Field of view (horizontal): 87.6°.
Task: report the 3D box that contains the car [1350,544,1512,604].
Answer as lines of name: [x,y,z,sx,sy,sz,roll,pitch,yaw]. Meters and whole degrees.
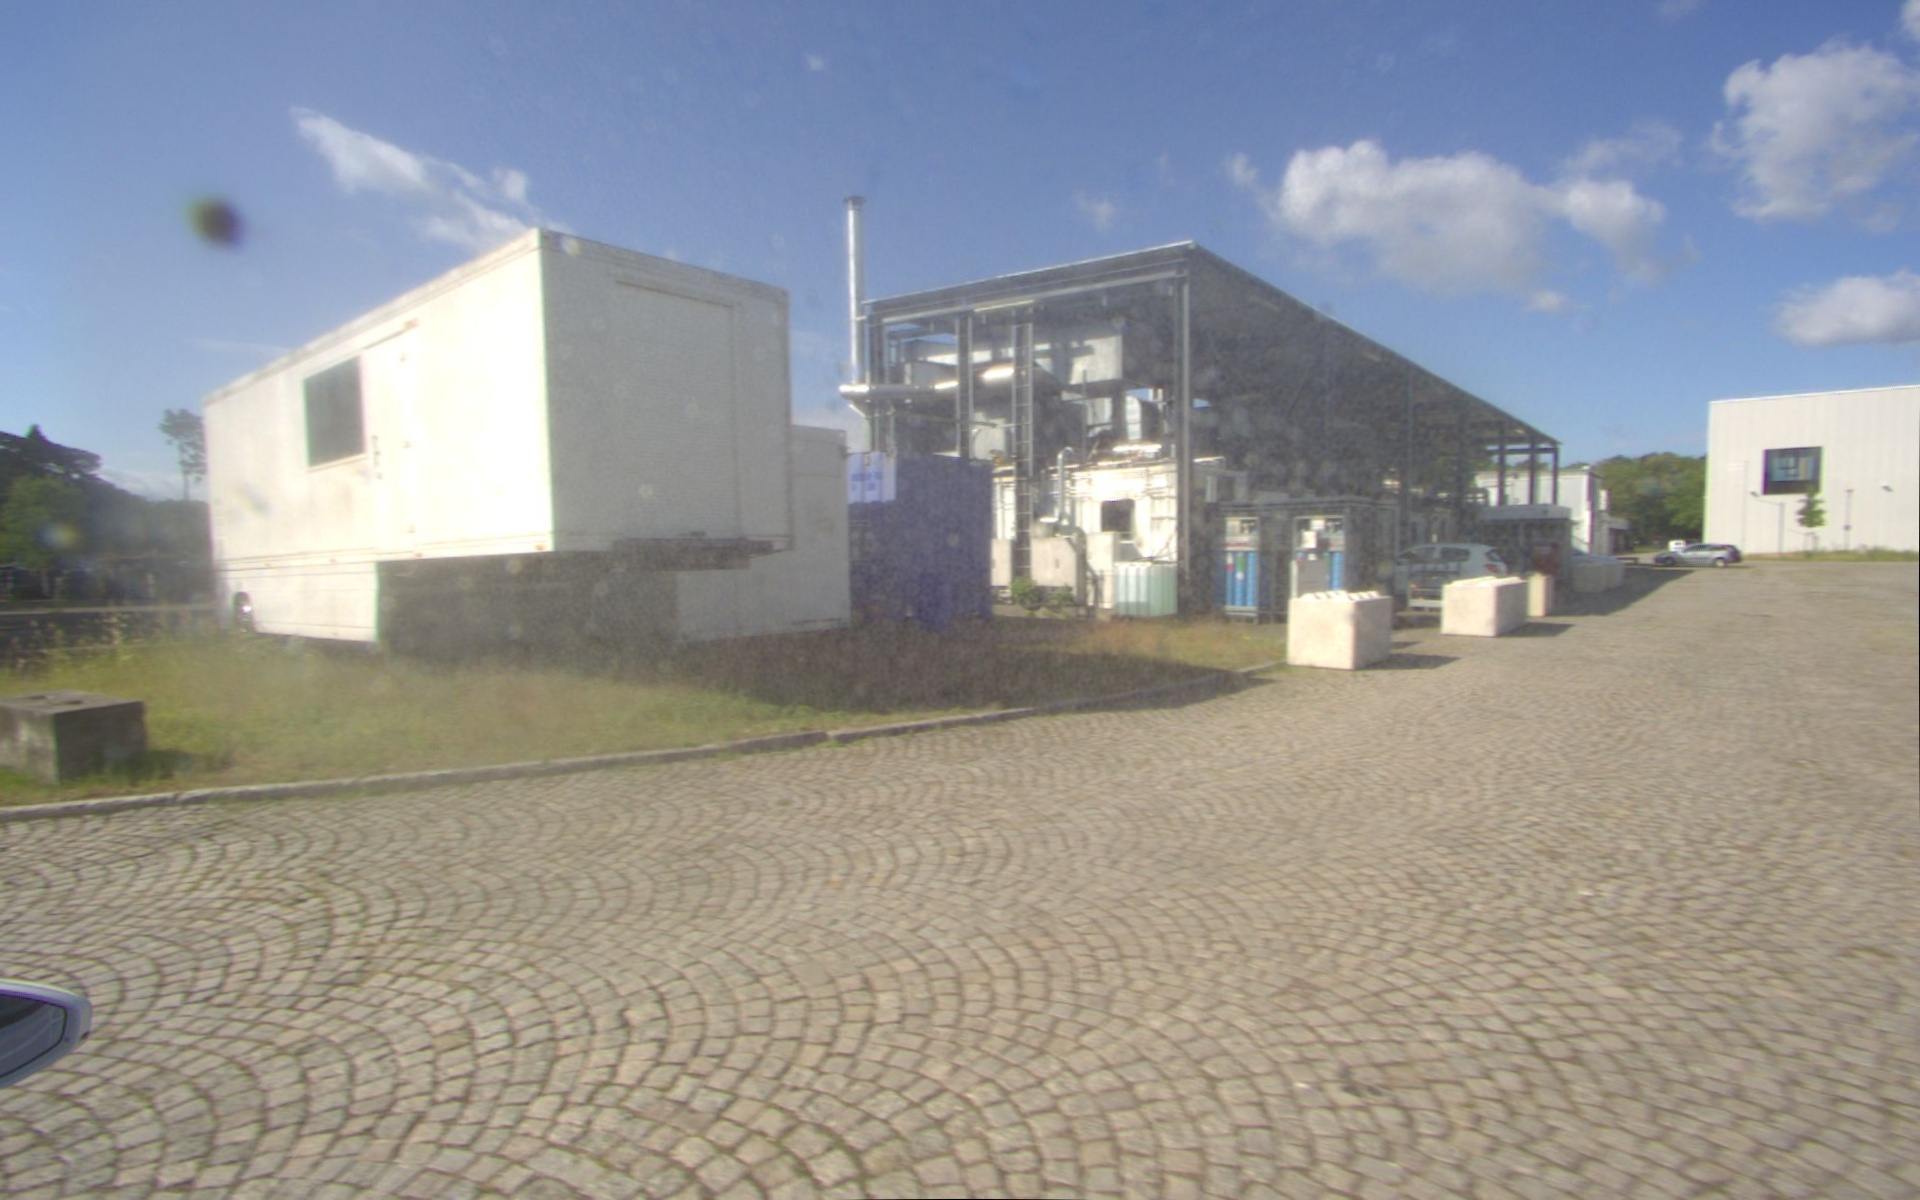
car: [11.694,-0.664,24.935,3.426,1.395,1.600,2,4,36]

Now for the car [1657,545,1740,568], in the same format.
car: [46.588,-2.744,63.228,4.134,1.423,1.727,2,4,38]

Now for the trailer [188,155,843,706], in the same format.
trailer: [-6.046,-1.395,11.872,10.757,3.966,2.757,2,4,41]

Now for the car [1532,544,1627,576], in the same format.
car: [28.670,-1.841,46.373,3.648,1.428,1.664,2,4,36]
